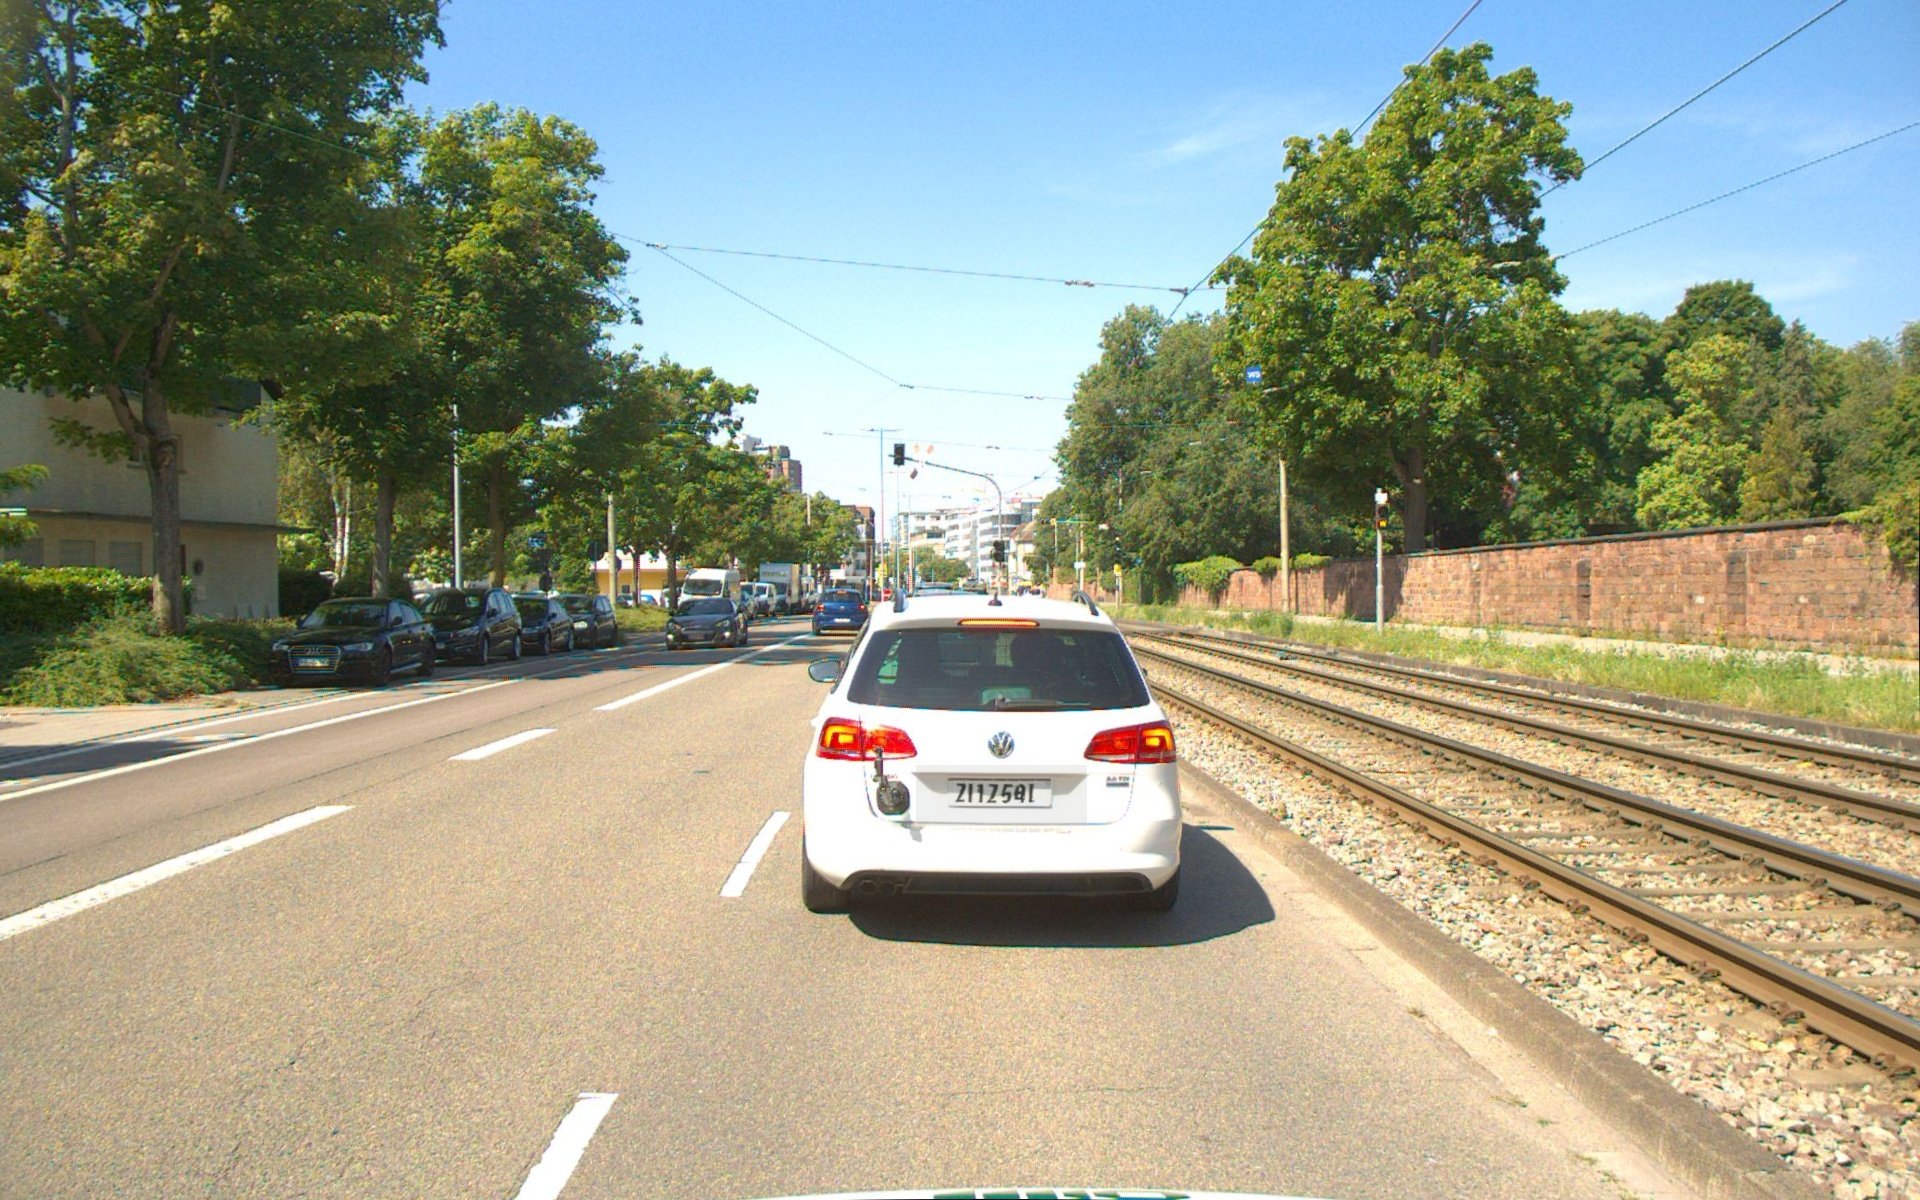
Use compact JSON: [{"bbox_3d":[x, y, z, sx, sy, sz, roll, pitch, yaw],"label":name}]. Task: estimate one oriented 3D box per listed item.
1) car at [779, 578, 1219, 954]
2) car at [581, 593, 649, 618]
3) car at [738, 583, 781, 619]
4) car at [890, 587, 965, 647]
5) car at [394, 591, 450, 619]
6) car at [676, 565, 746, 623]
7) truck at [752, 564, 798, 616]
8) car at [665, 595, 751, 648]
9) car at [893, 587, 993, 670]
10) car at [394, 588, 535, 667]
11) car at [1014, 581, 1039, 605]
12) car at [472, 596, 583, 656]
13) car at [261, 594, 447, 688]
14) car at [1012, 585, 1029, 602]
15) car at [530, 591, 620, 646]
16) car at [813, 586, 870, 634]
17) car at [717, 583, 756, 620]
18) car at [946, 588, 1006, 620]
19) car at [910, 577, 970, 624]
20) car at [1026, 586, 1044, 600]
[{"bbox_3d":[0.108,0.652,8.569,1.732,1.471,3.912,1,0,-2],"label":"car"},{"bbox_3d":[-22.048,0.336,105.772,3.904,1.469,1.772,-1,0,2],"label":"car"},{"bbox_3d":[-11.633,0.019,96.208,1.806,1.995,5.133,-1,0,0],"label":"car"},{"bbox_3d":[-0.832,0.405,42.723,1.823,1.441,4.324,1,0,-1],"label":"car"},{"bbox_3d":[-37.669,0.350,115.888,3.354,1.909,1.552,-1,0,-3],"label":"car"},{"bbox_3d":[-11.556,-0.287,77.176,2.016,2.544,6.309,2,1,2],"label":"car"},{"bbox_3d":[-11.731,-0.632,105.233,2.309,3.177,6.889,-1,0,-2],"label":"truck"},{"bbox_3d":[-6.473,0.529,42.820,1.653,1.266,4.063,-1,0,-1],"label":"car"},{"bbox_3d":[-0.334,0.481,30.685,1.710,1.412,3.912,1,0,-1],"label":"car"},{"bbox_3d":[-10.825,0.551,36.513,1.726,1.634,4.893,0,0,-1],"label":"car"},{"bbox_3d":[7.578,-0.783,188.170,2.413,2.542,5.909,1,0,-1],"label":"car"},{"bbox_3d":[-11.000,0.626,42.371,1.656,1.403,4.781,-1,0,-1],"label":"car"},{"bbox_3d":[-10.659,0.666,29.492,1.803,1.491,4.906,-1,0,-4],"label":"car"},{"bbox_3d":[6.597,-0.676,179.578,1.657,1.844,3.453,1,0,-1],"label":"car"},{"bbox_3d":[-10.950,0.508,47.302,1.608,1.476,4.004,1,0,0],"label":"car"},{"bbox_3d":[-3.760,0.300,52.551,1.711,1.432,3.910,1,0,-4],"label":"car"},{"bbox_3d":[-12.211,0.065,90.647,1.807,1.971,5.189,-1,0,-4],"label":"car"},{"bbox_3d":[0.772,0.177,77.525,1.709,1.432,3.915,1,0,17],"label":"car"},{"bbox_3d":[-0.668,0.008,58.028,1.822,1.539,3.915,1,0,3],"label":"car"},{"bbox_3d":[7.453,-0.717,165.459,1.549,1.370,3.453,1,0,-1],"label":"car"}]
